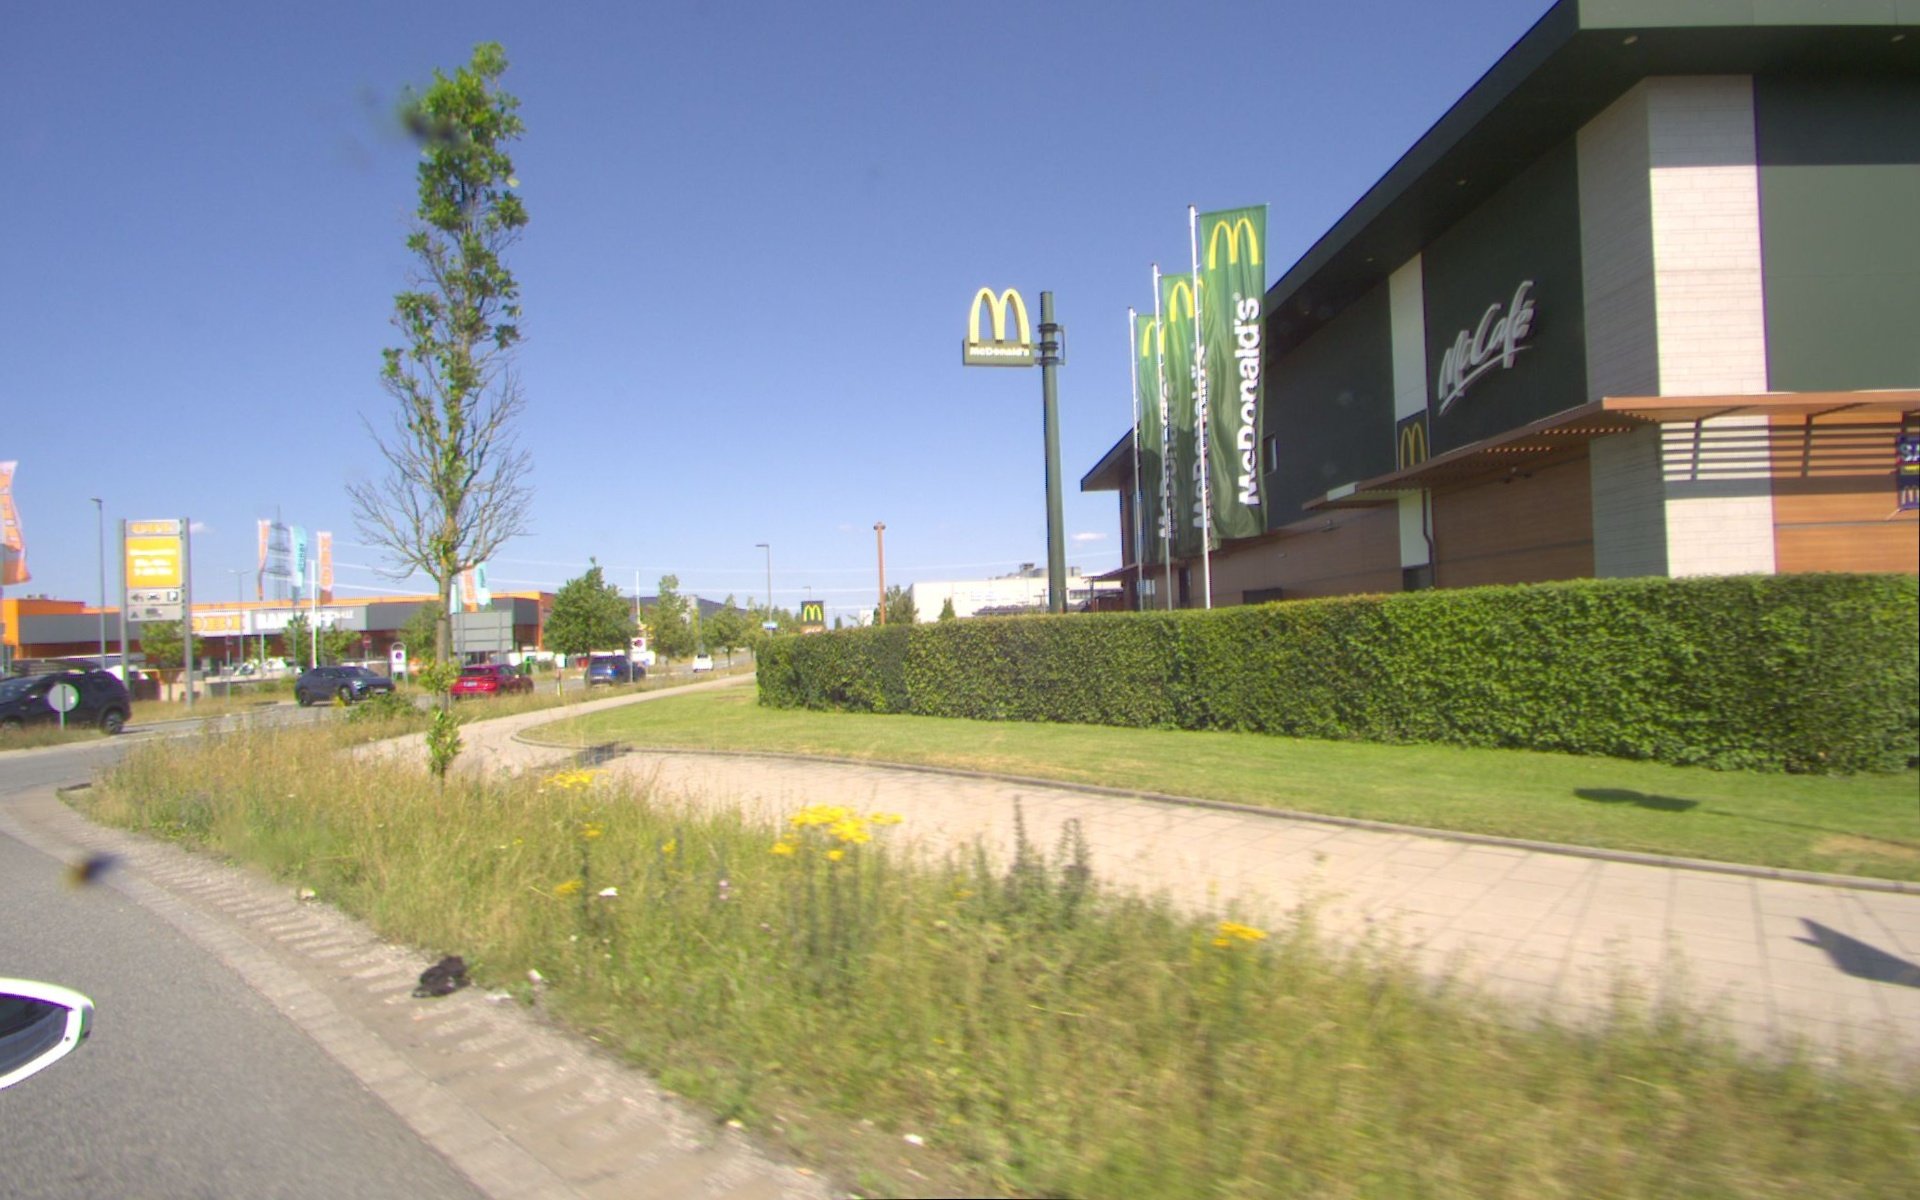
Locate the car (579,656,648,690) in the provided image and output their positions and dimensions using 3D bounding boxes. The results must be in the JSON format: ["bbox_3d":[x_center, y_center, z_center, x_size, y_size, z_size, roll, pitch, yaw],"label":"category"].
[{"bbox_3d":[-18.018,3.780,52.299,1.821,1.655,4.083,-1,-3,6],"label":"car"}]

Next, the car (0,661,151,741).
[{"bbox_3d":[-22.593,2.445,24.466,1.919,1.727,4.630,-3,-2,-2],"label":"car"}]

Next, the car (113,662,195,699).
[{"bbox_3d":[-43.218,4.315,53.793,1.668,1.863,3.778,-2,-4,-7],"label":"car"}]

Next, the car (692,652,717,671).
[{"bbox_3d":[-20.927,5.042,82.095,1.485,1.459,3.351,-2,-2,-7],"label":"car"}]

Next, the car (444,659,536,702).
[{"bbox_3d":[-17.748,3.015,38.022,1.773,1.433,4.119,-1,-2,-3],"label":"car"}]

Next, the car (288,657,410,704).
[{"bbox_3d":[-25.017,3.292,40.989,4.624,1.647,2.072,-5,-2,25],"label":"car"}]
